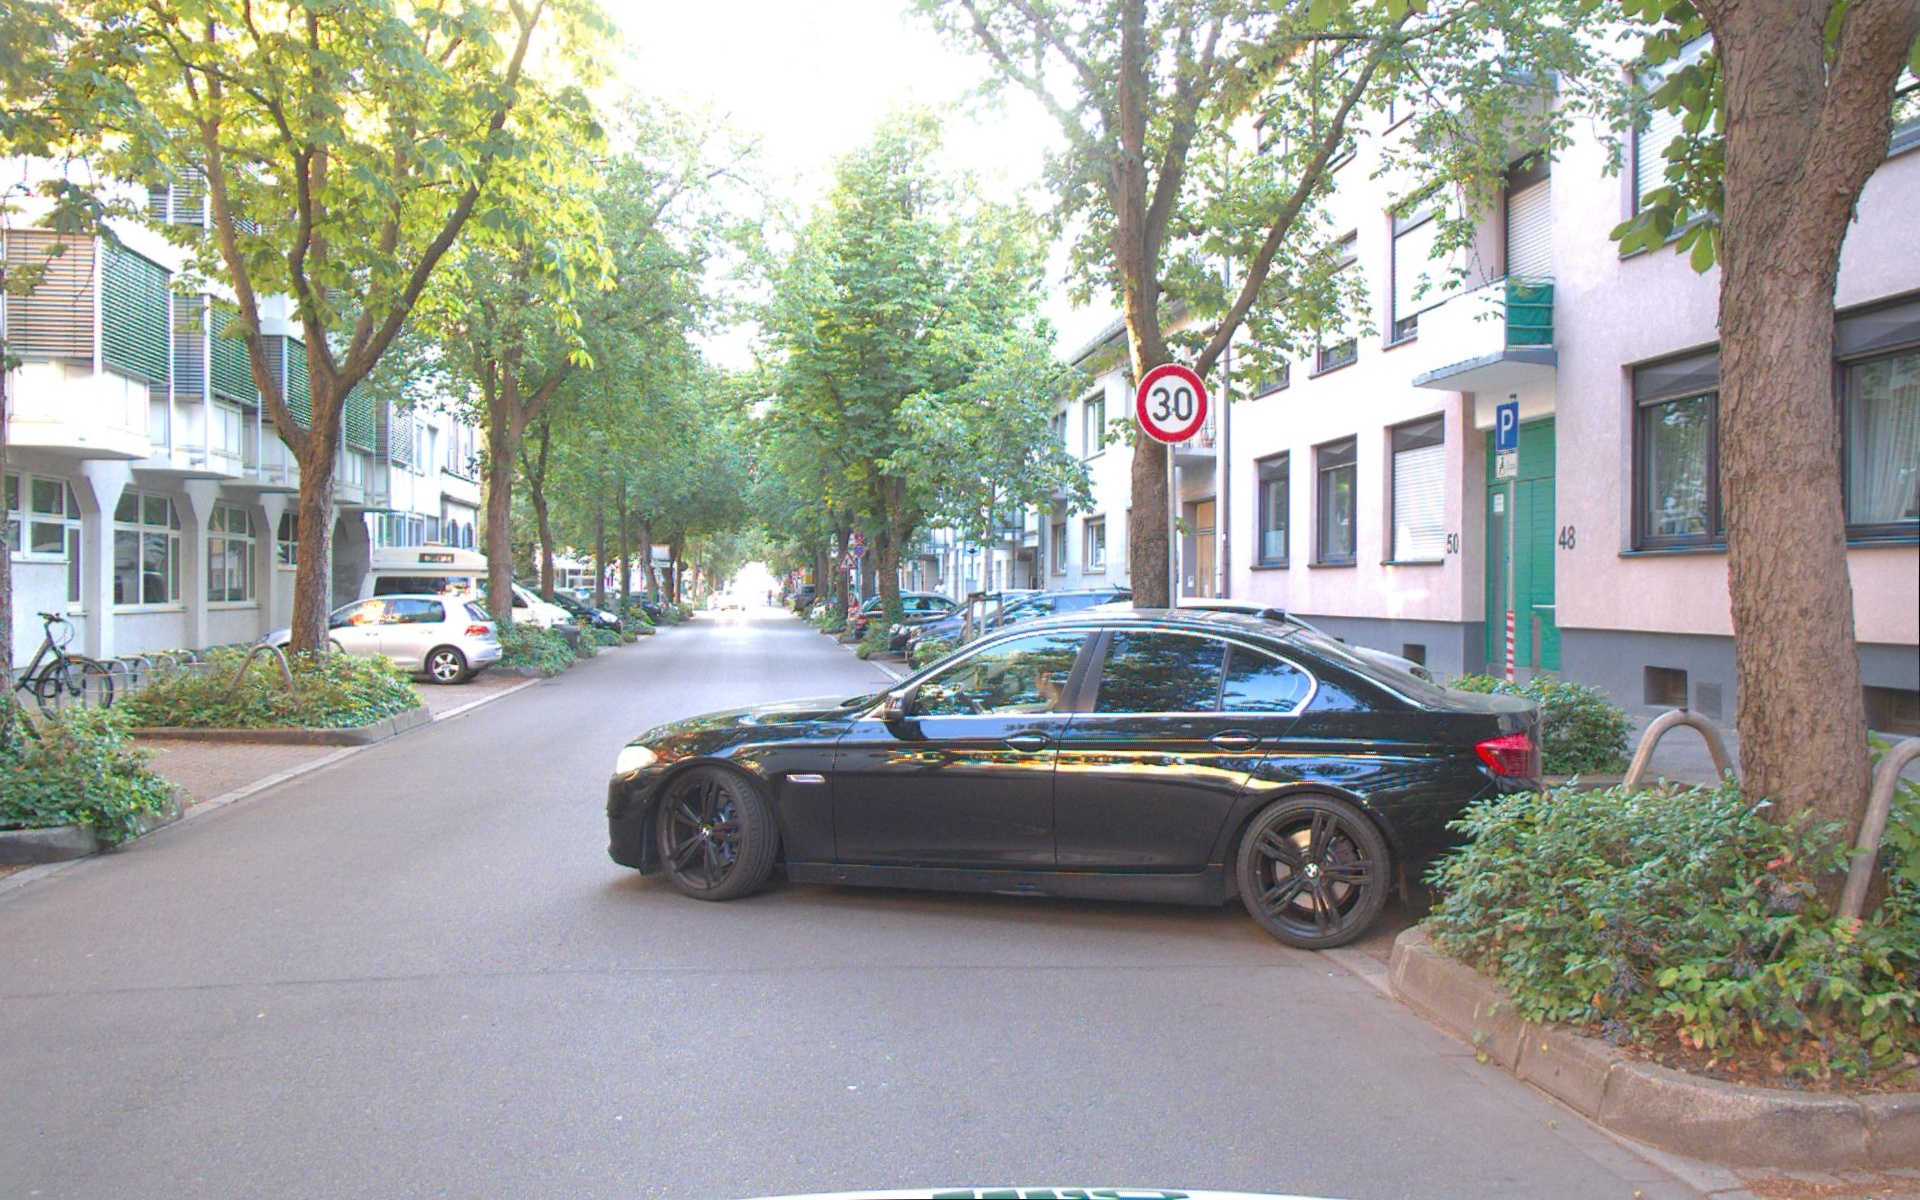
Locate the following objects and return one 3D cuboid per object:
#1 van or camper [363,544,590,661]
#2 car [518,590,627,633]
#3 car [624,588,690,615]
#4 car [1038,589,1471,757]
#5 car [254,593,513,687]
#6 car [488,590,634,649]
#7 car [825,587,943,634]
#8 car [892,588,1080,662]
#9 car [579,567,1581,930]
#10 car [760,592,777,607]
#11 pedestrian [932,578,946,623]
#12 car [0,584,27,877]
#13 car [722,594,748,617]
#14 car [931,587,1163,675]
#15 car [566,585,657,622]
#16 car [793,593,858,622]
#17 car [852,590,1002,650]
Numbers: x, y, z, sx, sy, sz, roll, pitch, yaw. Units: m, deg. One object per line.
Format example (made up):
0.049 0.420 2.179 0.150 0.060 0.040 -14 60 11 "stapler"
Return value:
-10.684 0.046 36.882 4.575 2.521 1.997 0 0 -7 "van or camper"
-15.026 0.425 64.273 3.891 1.647 1.783 0 0 -6 "car"
-18.743 0.097 102.395 3.891 1.647 1.783 0 0 -6 "car"
2.801 0.657 16.110 3.836 1.502 1.661 0 0 -9 "car"
-9.873 0.666 28.580 3.892 1.544 1.783 0 0 -6 "car"
-11.504 0.552 47.860 3.892 1.647 1.783 0 0 -6 "car"
-2.642 0.347 56.779 3.894 1.554 1.782 0 0 -9 "car"
0.531 0.514 36.151 3.893 1.554 1.782 0 0 -8 "car"
0.597 0.610 8.384 4.645 1.506 1.801 0 0 16 "car"
-20.386 -0.034 176.092 1.787 1.557 3.995 -1 0 -6 "car"
-0.944 0.040 75.686 0.577 2.049 0.669 0 0 -6 "pedestrian"
-7.113 0.703 7.869 4.272 1.544 1.782 0 0 -7 "car"
-16.447 0.401 120.930 1.745 1.589 4.162 0 0 -6 "car"
1.528 0.526 29.705 3.894 1.502 1.781 0 0 -9 "car"
-15.963 0.146 75.911 3.891 1.647 1.783 0 0 -6 "car"
-8.184 0.441 100.645 3.891 1.713 1.783 0 0 -6 "car"
-0.921 0.521 44.940 3.893 1.554 1.782 0 0 -8 "car"
